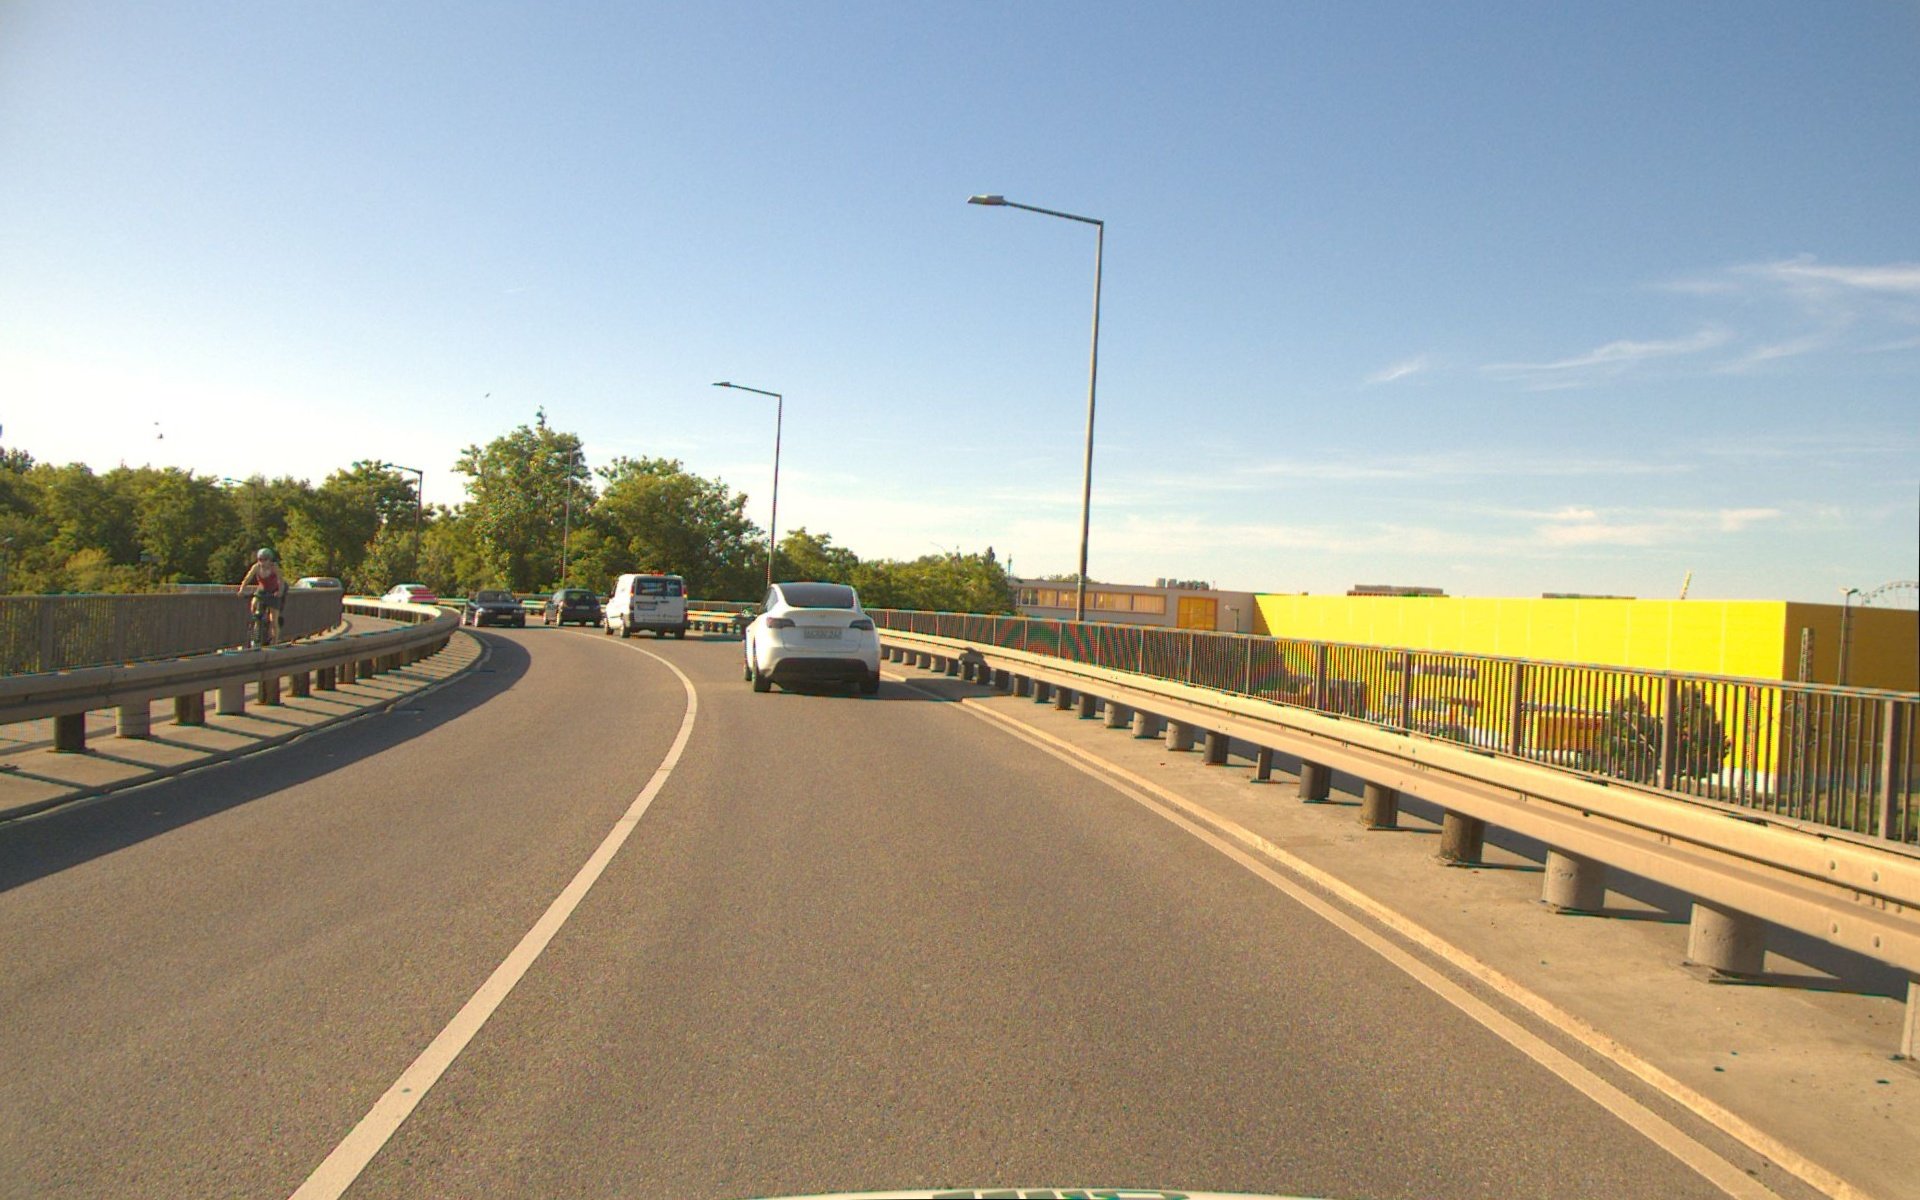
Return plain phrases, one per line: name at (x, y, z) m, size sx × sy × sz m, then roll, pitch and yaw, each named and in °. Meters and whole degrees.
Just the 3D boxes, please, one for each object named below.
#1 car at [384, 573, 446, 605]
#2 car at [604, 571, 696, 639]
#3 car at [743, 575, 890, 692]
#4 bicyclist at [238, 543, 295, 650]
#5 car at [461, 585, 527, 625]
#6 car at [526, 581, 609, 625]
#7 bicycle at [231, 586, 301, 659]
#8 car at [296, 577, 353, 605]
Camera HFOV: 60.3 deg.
car at (-28.617, -0.597, 86.817) m, size 1.847 × 1.612 × 3.859 m, roll 1°, pitch 0°, yaw -39°
car at (-9.523, 0.134, 50.598) m, size 1.977 × 1.974 × 4.439 m, roll 1°, pitch 0°, yaw -21°
car at (-2.322, 0.476, 25.851) m, size 1.949 × 1.666 × 4.053 m, roll 0°, pitch 0°, yaw -10°
bicyclist at (-10.683, -0.050, 25.494) m, size 0.642 × 1.617 × 0.766 m, roll 1°, pitch 0°, yaw -12°
car at (-17.163, 0.174, 60.773) m, size 1.722 × 1.379 × 4.150 m, roll 1°, pitch 0°, yaw -25°
car at (-15.231, 0.105, 64.049) m, size 1.950 × 1.666 × 3.955 m, roll 0°, pitch 0°, yaw -32°
bicycle at (-10.705, 0.328, 25.571) m, size 0.642 × 1.083 × 1.884 m, roll 1°, pitch 0°, yaw -12°
car at (-38.012, -0.542, 98.907) m, size 1.827 × 1.583 × 3.831 m, roll 1°, pitch 0°, yaw -44°
